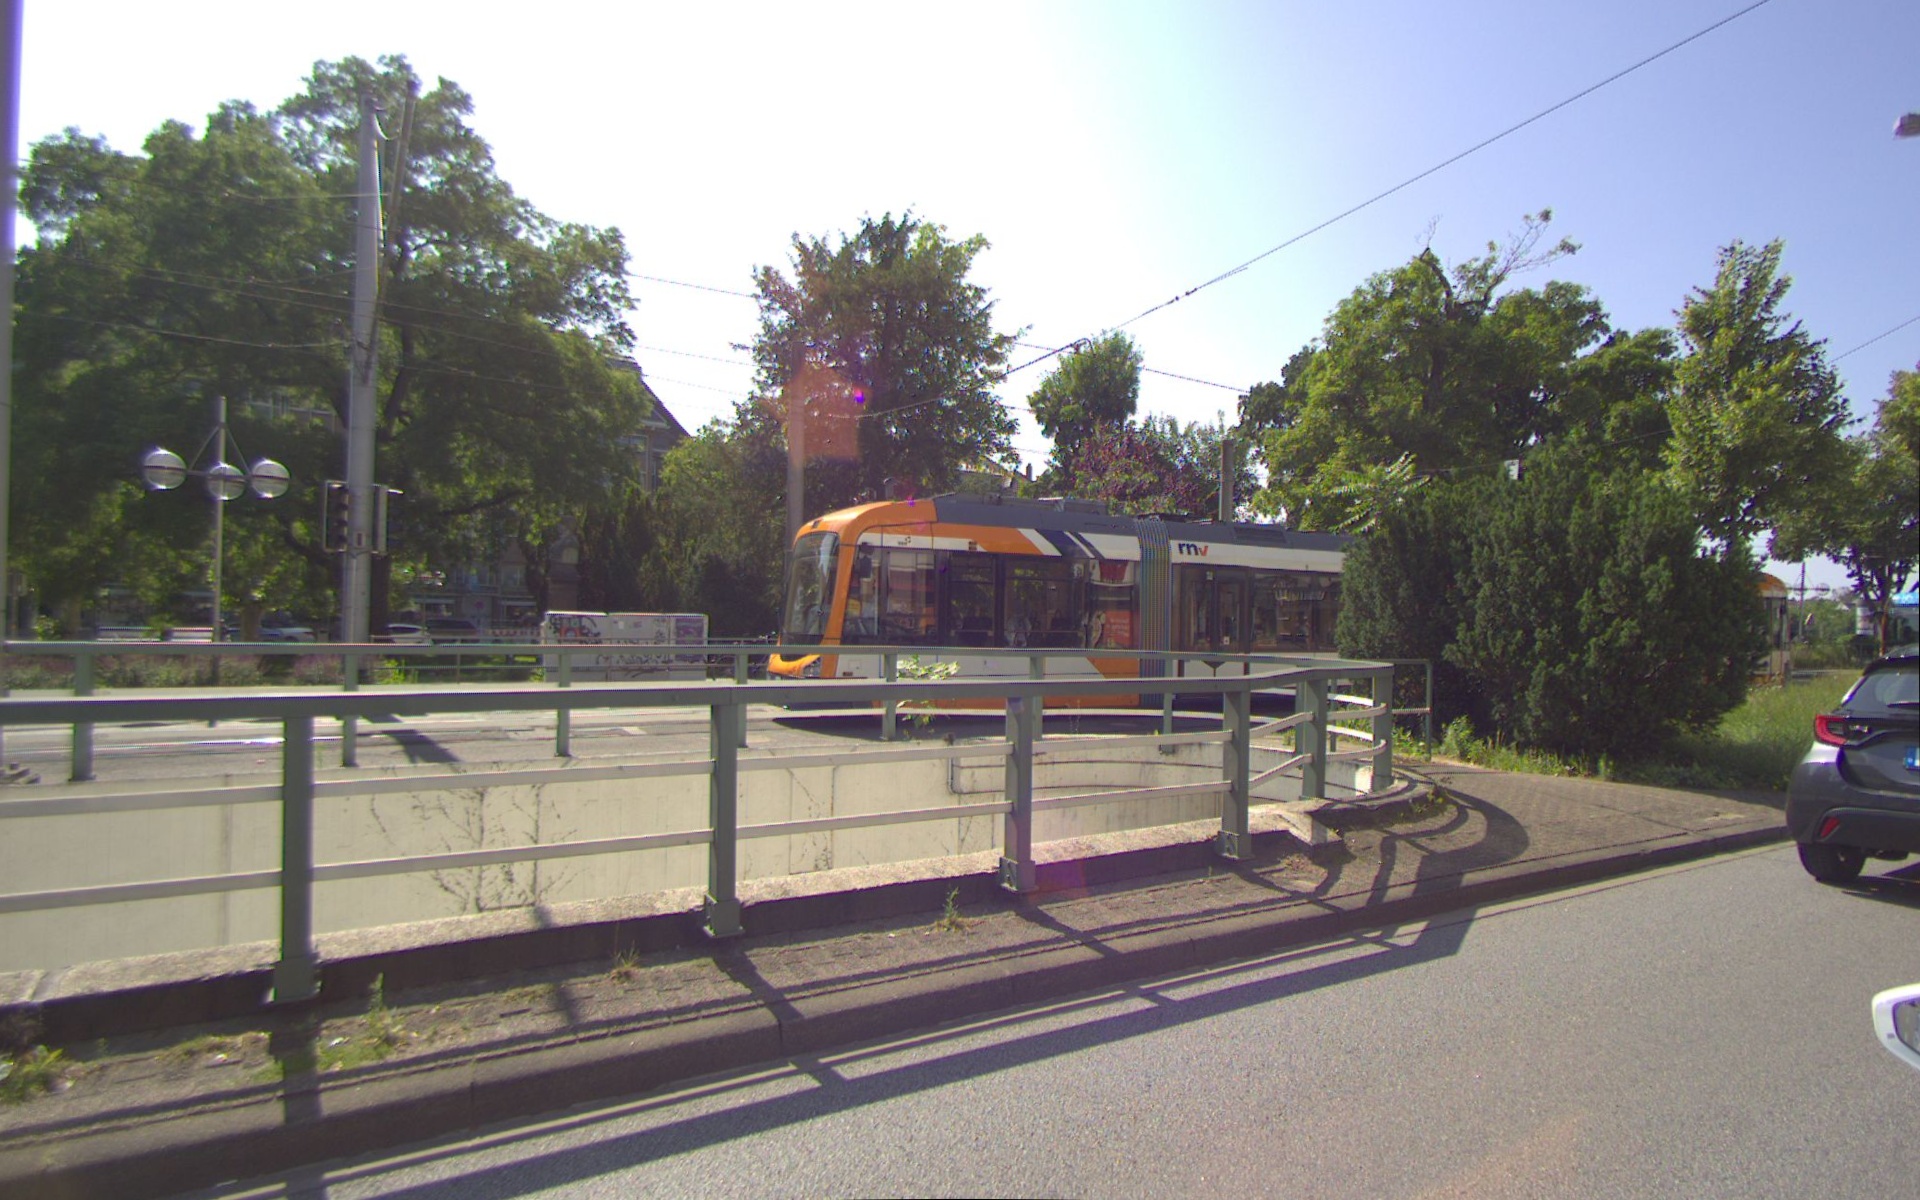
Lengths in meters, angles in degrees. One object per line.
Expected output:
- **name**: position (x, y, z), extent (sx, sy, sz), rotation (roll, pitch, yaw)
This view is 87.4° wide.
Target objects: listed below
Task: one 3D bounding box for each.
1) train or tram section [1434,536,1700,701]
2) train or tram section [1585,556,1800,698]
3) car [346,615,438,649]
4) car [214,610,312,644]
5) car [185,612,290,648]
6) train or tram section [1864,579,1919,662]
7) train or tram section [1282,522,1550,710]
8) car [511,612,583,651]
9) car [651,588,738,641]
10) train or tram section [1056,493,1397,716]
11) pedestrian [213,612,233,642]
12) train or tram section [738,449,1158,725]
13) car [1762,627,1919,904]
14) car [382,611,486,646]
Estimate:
- **train or tram section**: position (15.147, 0.507, 24.933), extent (6.818, 3.629, 2.600), rotation (3, 1, -30)
- **train or tram section**: position (20.604, 0.761, 28.189), extent (5.947, 3.629, 2.600), rotation (3, 1, -30)
- **car**: position (-29.201, 1.655, 51.672), extent (3.962, 1.528, 1.743), rotation (3, 1, -36)
- **car**: position (-35.056, 1.364, 50.610), extent (3.962, 1.528, 1.743), rotation (3, 1, -36)
- **car**: position (-34.378, 1.420, 47.884), extent (3.962, 1.528, 1.743), rotation (3, 1, -36)
- **train or tram section**: position (46.526, 1.129, 46.044), extent (9.870, 3.628, 2.822), rotation (3, -2, -17)
- **train or tram section**: position (9.944, 0.378, 21.847), extent (5.295, 3.629, 2.600), rotation (3, 1, -30)
- **car**: position (-24.231, 1.851, 58.969), extent (3.601, 2.040, 1.984), rotation (3, 1, -30)
- **car**: position (-18.239, 1.009, 69.124), extent (5.358, 3.360, 2.116), rotation (3, 1, -31)
- **train or tram section**: position (5.095, 0.153, 18.958), extent (6.033, 3.629, 2.600), rotation (3, 1, -30)
- **pedestrian**: position (-32.716, 1.209, 44.587), extent (0.655, 1.279, 0.744), rotation (2, -3, -42)
- **train or tram section**: position (-0.113, -0.089, 15.880), extent (6.033, 3.629, 2.601), rotation (3, 1, -30)
- **car**: position (6.984, 0.974, 6.329), extent (3.954, 1.494, 1.768), rotation (3, -2, -31)
- **car**: position (-28.652, 1.570, 54.822), extent (4.797, 1.685, 1.743), rotation (3, 1, -36)
